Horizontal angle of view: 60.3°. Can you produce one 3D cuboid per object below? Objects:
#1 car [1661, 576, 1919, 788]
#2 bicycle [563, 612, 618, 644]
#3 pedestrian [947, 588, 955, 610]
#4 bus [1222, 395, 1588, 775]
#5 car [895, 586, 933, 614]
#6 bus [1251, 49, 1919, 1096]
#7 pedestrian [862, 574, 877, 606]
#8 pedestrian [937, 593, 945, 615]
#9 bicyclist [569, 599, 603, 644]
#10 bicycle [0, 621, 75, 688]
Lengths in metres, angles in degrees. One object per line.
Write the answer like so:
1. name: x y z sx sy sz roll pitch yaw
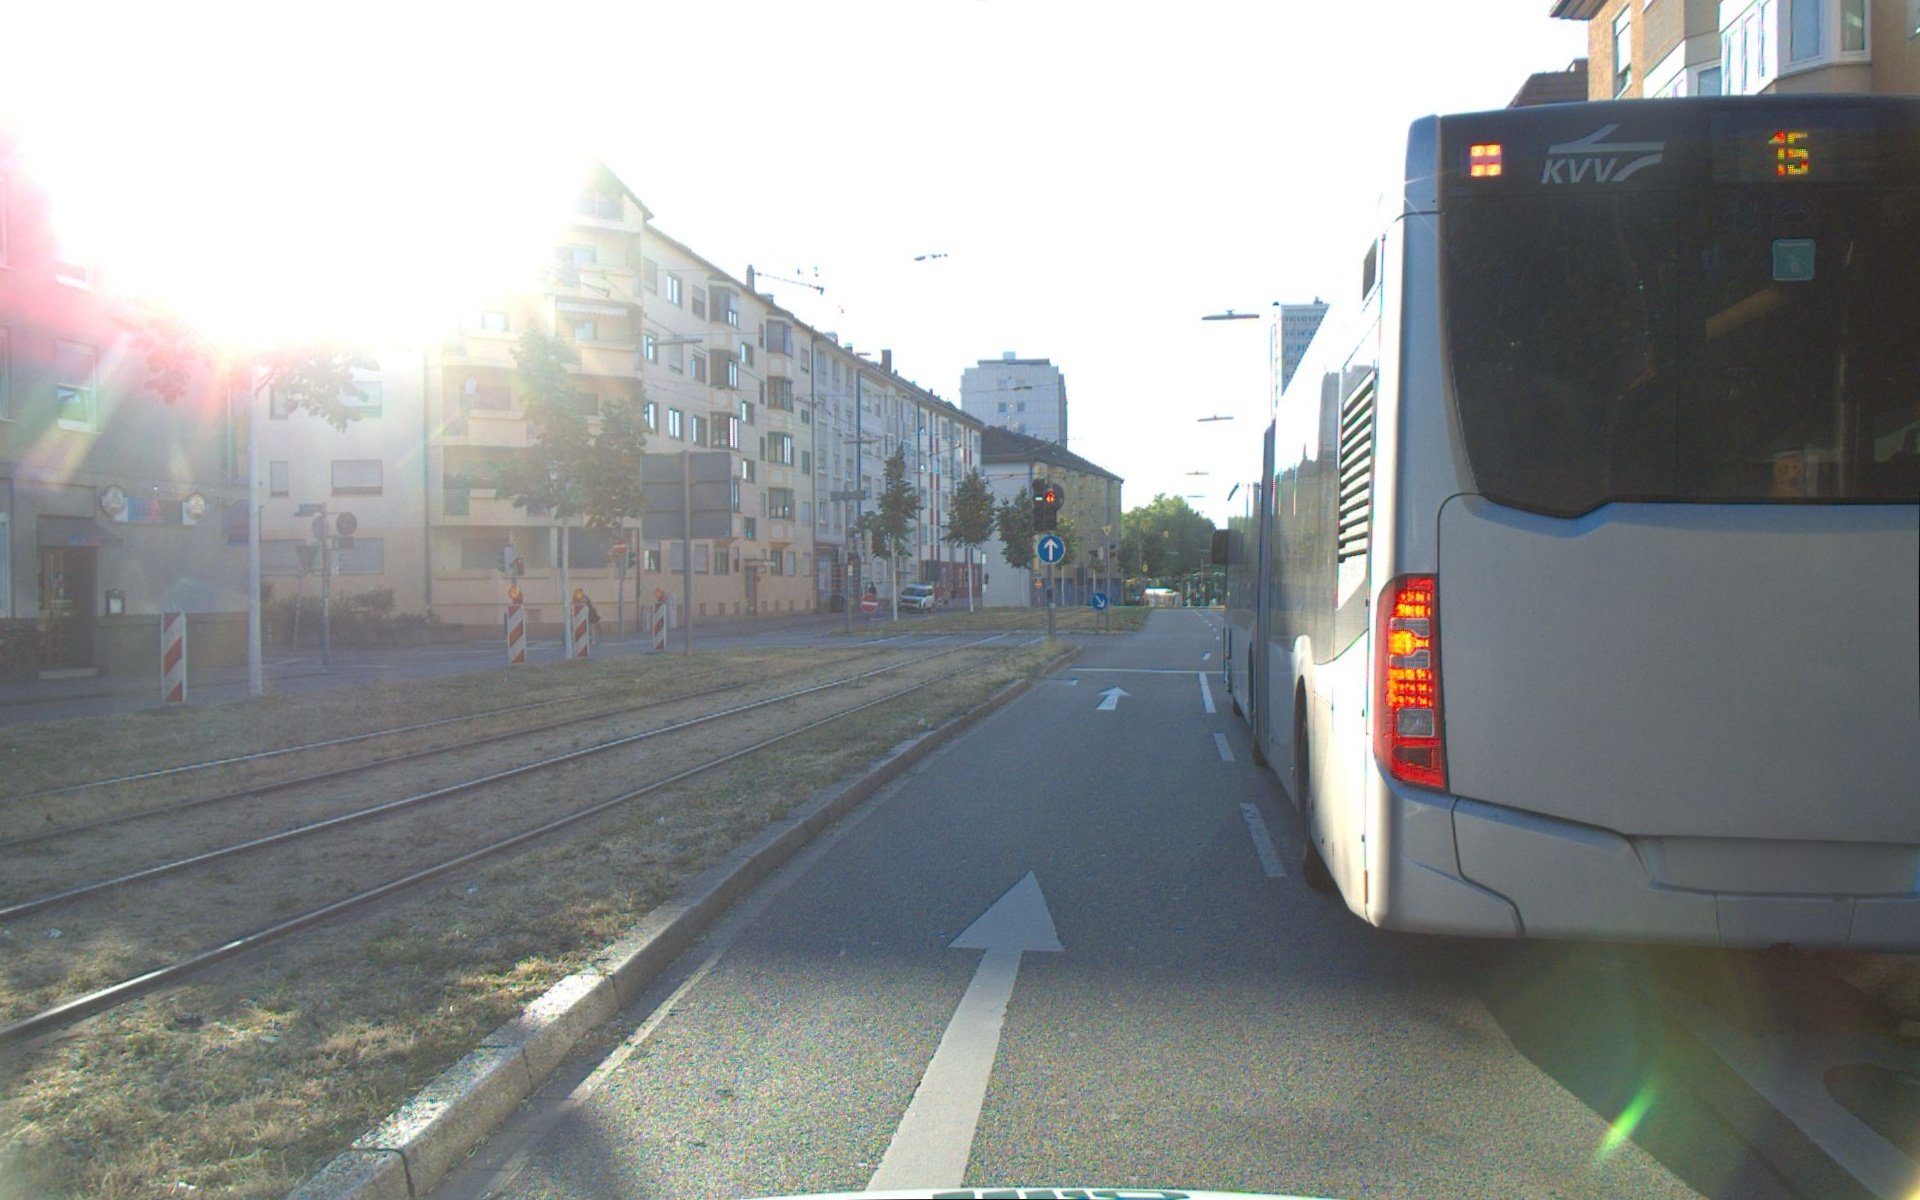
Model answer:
1. car: 7.616 0.587 14.289 1.799 1.563 4.233 -1 0 8
2. bicycle: -12.193 0.919 54.644 0.519 1.001 1.875 -1 0 38
3. pedestrian: -0.667 -0.075 125.548 0.485 1.687 0.409 -1 0 8
4. bus: 4.382 -0.175 18.231 2.680 3.109 9.138 1 0 7
5. car: -3.027 -0.026 110.470 1.773 1.829 4.249 -1 0 9
6. bus: 3.213 -0.115 9.334 2.680 3.109 8.861 1 0 7
7. pedestrian: -5.761 -0.649 105.393 0.770 2.049 0.891 -1 0 4
8. pedestrian: -1.424 0.310 125.175 0.485 1.687 0.409 -1 0 8
9. bicyclist: -12.319 0.708 54.499 0.519 1.472 0.961 -1 0 38
10. bicycle: -16.798 0.960 29.645 0.731 1.134 1.780 -1 0 8
